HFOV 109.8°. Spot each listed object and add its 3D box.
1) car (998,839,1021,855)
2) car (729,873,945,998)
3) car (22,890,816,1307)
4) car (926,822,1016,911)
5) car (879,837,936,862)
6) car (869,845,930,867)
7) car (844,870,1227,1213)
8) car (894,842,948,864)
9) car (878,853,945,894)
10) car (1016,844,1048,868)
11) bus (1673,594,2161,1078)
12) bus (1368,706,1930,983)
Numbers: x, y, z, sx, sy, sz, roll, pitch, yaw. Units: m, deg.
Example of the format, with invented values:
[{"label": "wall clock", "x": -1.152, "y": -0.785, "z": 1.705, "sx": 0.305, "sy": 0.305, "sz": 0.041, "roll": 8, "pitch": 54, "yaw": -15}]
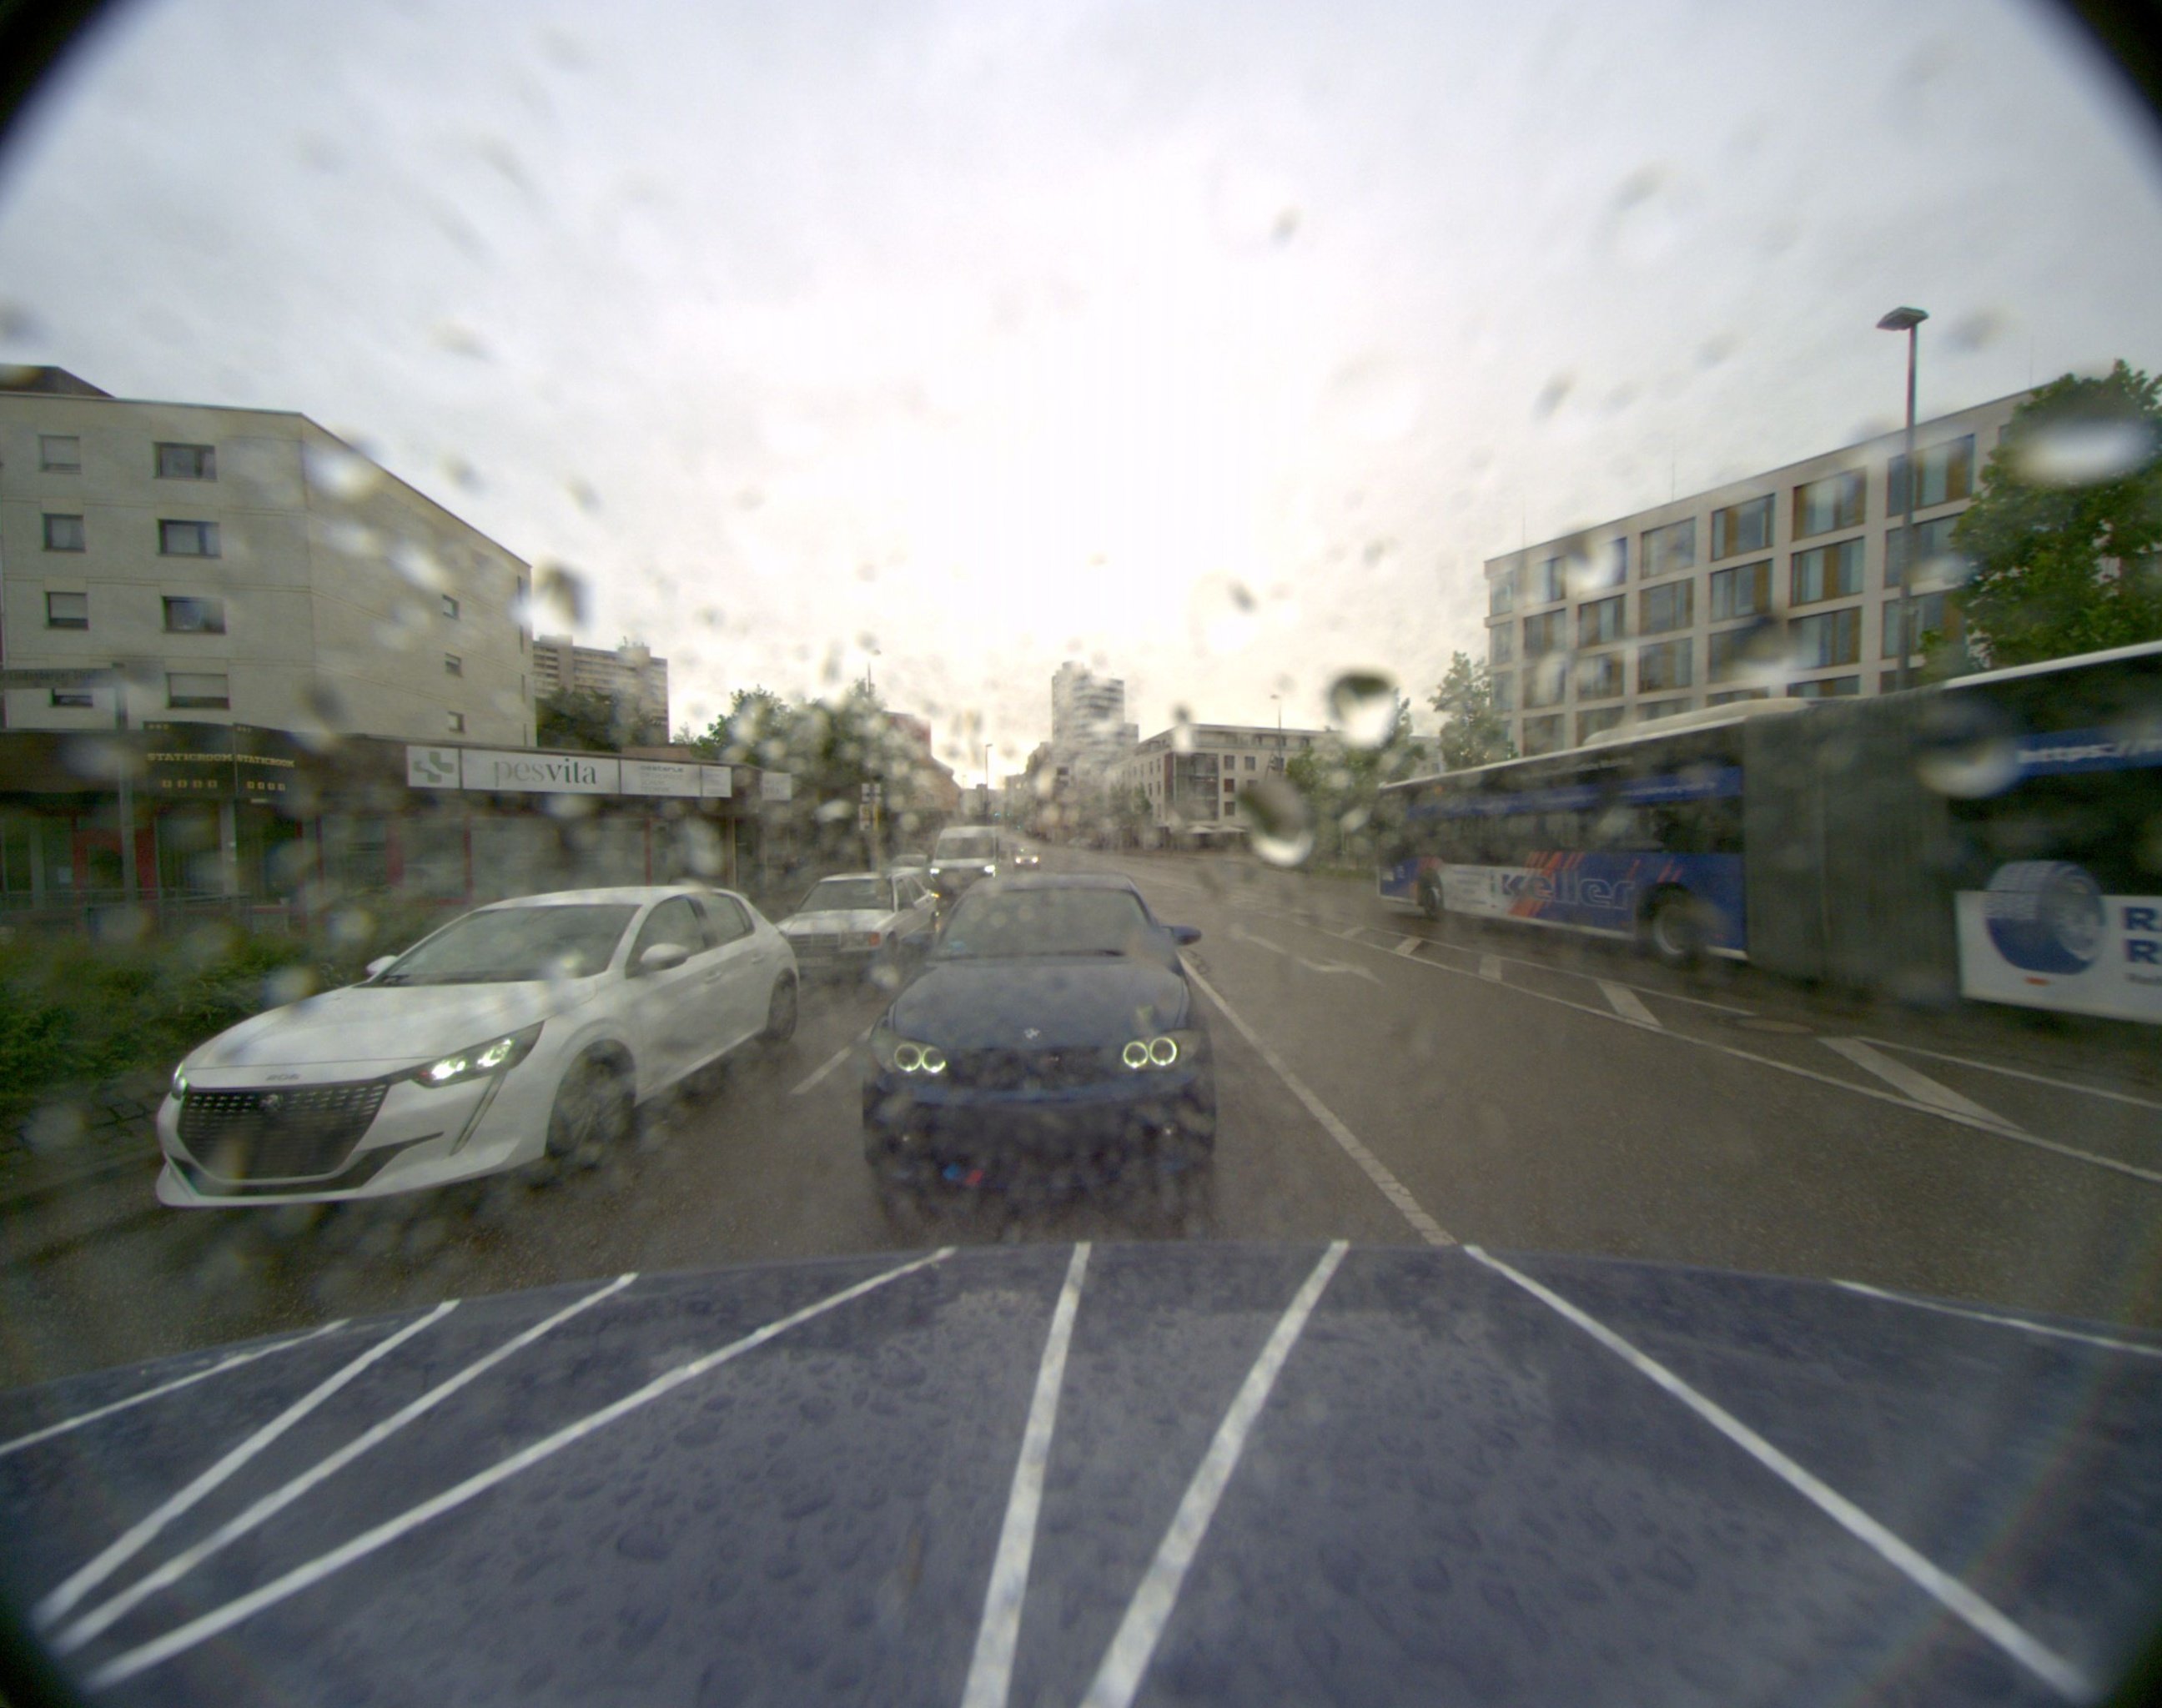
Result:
[{"label": "car", "x": -7.204, "y": -0.725, "z": 76.654, "sx": 1.999, "sy": 1.559, "sz": 3.998, "roll": -2, "pitch": 1, "yaw": -1}, {"label": "car", "x": -3.359, "y": 1.052, "z": 11.383, "sx": 1.788, "sy": 1.338, "sz": 4.162, "roll": -2, "pitch": 1, "yaw": 1}, {"label": "car", "x": -3.376, "y": 1.085, "z": 5.115, "sx": 1.666, "sy": 1.407, "sz": 4.114, "roll": -2, "pitch": 1, "yaw": 1}, {"label": "car", "x": -3.420, "y": 0.293, "z": 24.893, "sx": 2.197, "sy": 2.503, "sz": 6.120, "roll": -1, "pitch": 1, "yaw": -2}, {"label": "car", "x": -12.617, "y": -0.326, "z": 55.472, "sx": 4.000, "sy": 1.769, "sz": 1.882, "roll": -1, "pitch": 1, "yaw": -10}, {"label": "car", "x": -12.641, "y": 0.110, "z": 53.050, "sx": 4.000, "sy": 1.419, "sz": 1.882, "roll": -1, "pitch": 1, "yaw": -10}, {"label": "car", "x": -0.247, "y": 0.891, "z": 5.452, "sx": 1.693, "sy": 1.380, "sz": 3.999, "roll": -2, "pitch": 1, "yaw": -1}, {"label": "car", "x": -12.314, "y": -0.054, "z": 58.838, "sx": 4.000, "sy": 1.584, "sz": 1.883, "roll": -1, "pitch": -1, "yaw": -10}, {"label": "car", "x": -6.948, "y": 0.770, "z": 31.528, "sx": 1.788, "sy": 1.481, "sz": 4.000, "roll": -2, "pitch": 1, "yaw": 1}, {"label": "car", "x": -3.367, "y": 0.102, "z": 52.871, "sx": 1.803, "sy": 1.530, "sz": 3.999, "roll": -2, "pitch": 1, "yaw": 1}, {"label": "bus", "x": 8.499, "y": -0.113, "z": 3.769, "sx": 2.786, "sy": 3.096, "sz": 9.359, "roll": -1, "pitch": 1, "yaw": -9}, {"label": "bus", "x": 8.071, "y": -0.163, "z": 12.990, "sx": 2.799, "sy": 3.096, "sz": 8.881, "roll": -1, "pitch": 1, "yaw": -1}]
